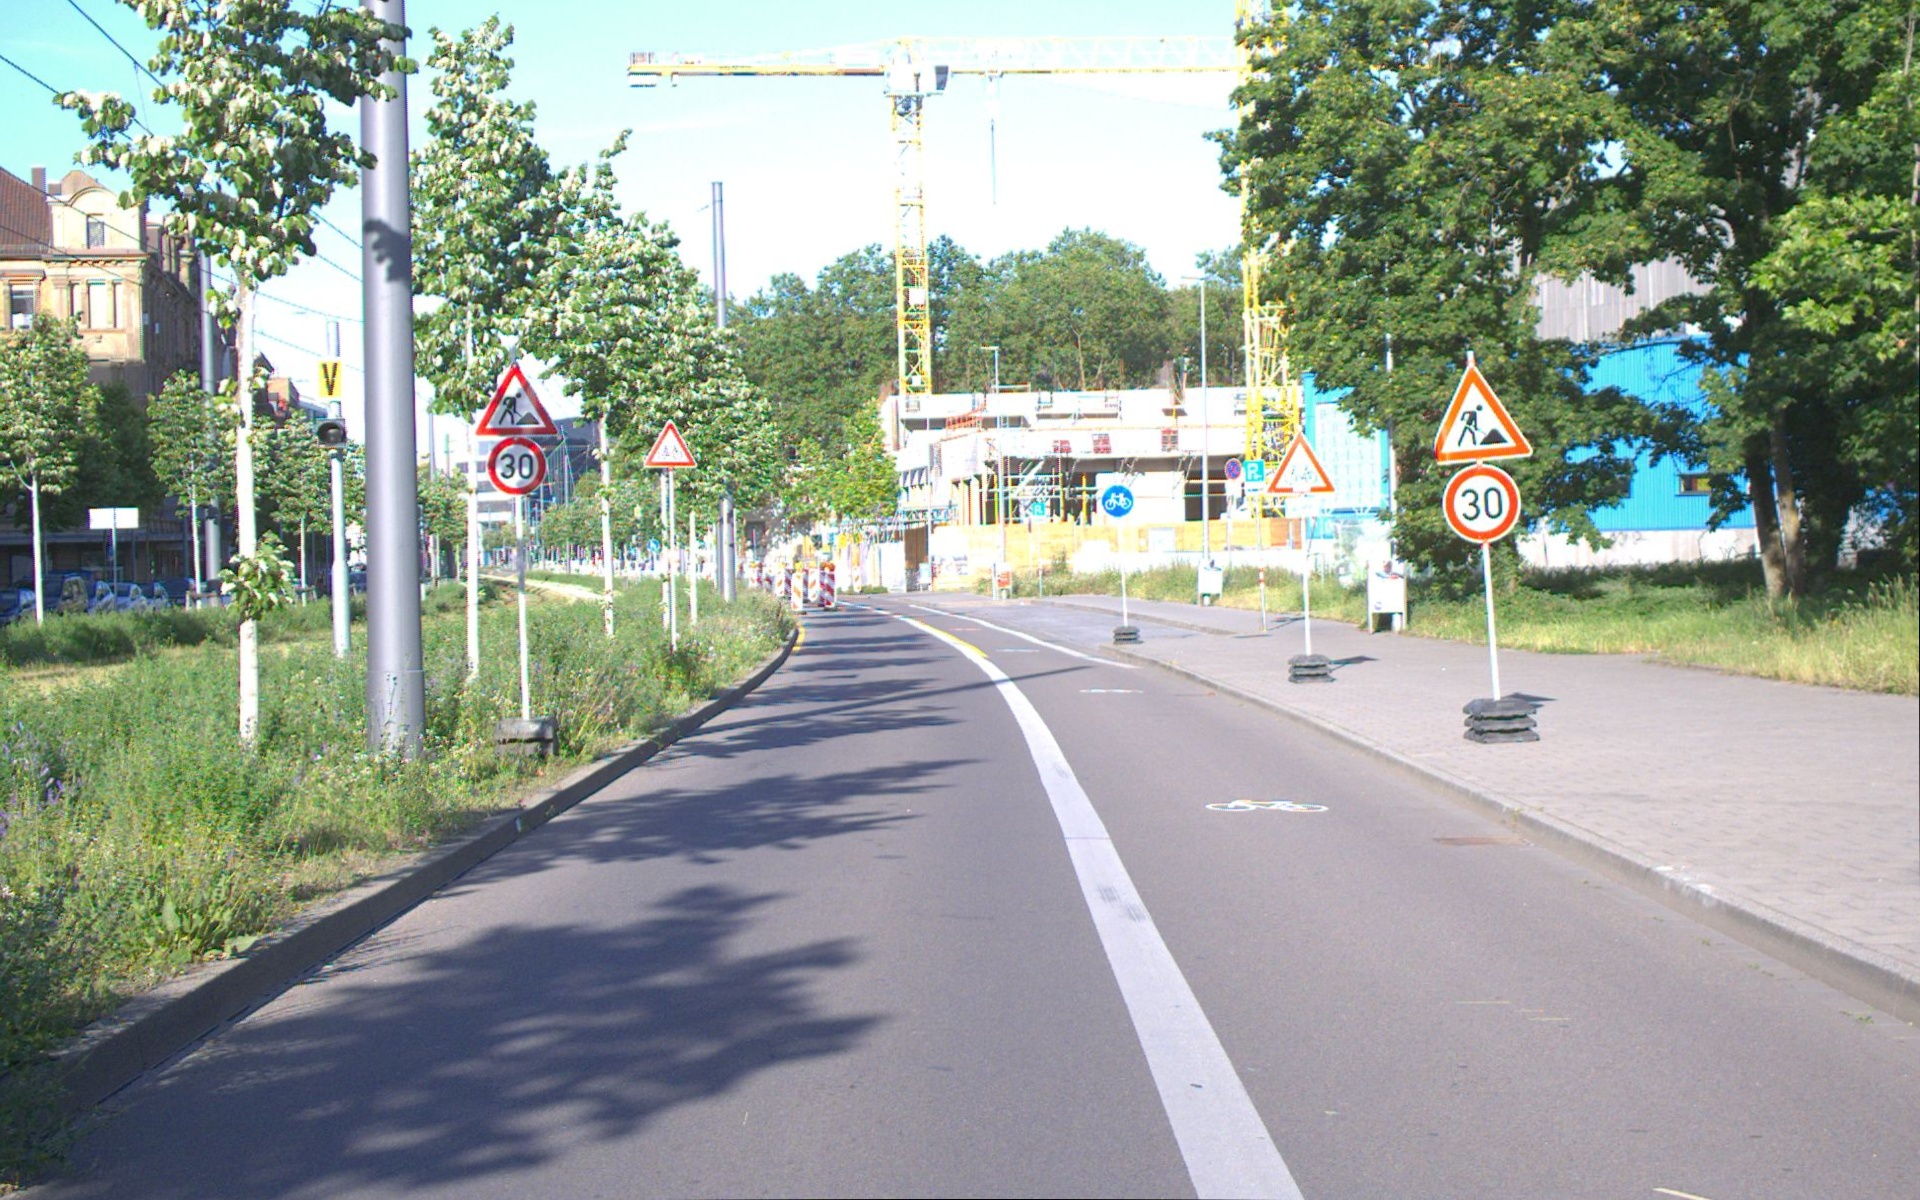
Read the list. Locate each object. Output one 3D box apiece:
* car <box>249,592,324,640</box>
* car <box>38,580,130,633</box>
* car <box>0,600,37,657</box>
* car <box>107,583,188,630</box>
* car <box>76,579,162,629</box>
[{"bbox_3d":[-24.183,0.560,123.516,1.903,1.570,4.411,-2,1,-2],"label":"car"},{"bbox_3d":[-27.819,0.187,109.336,1.903,1.570,4.301,-2,1,-2],"label":"car"},{"bbox_3d":[-28.037,0.831,98.847,1.903,1.570,4.301,-2,1,-2],"label":"car"},{"bbox_3d":[-28.574,0.209,121.068,1.903,1.570,4.301,-2,1,-2],"label":"car"},{"bbox_3d":[-28.124,0.121,115.133,1.903,1.570,4.301,-2,1,-2],"label":"car"}]
